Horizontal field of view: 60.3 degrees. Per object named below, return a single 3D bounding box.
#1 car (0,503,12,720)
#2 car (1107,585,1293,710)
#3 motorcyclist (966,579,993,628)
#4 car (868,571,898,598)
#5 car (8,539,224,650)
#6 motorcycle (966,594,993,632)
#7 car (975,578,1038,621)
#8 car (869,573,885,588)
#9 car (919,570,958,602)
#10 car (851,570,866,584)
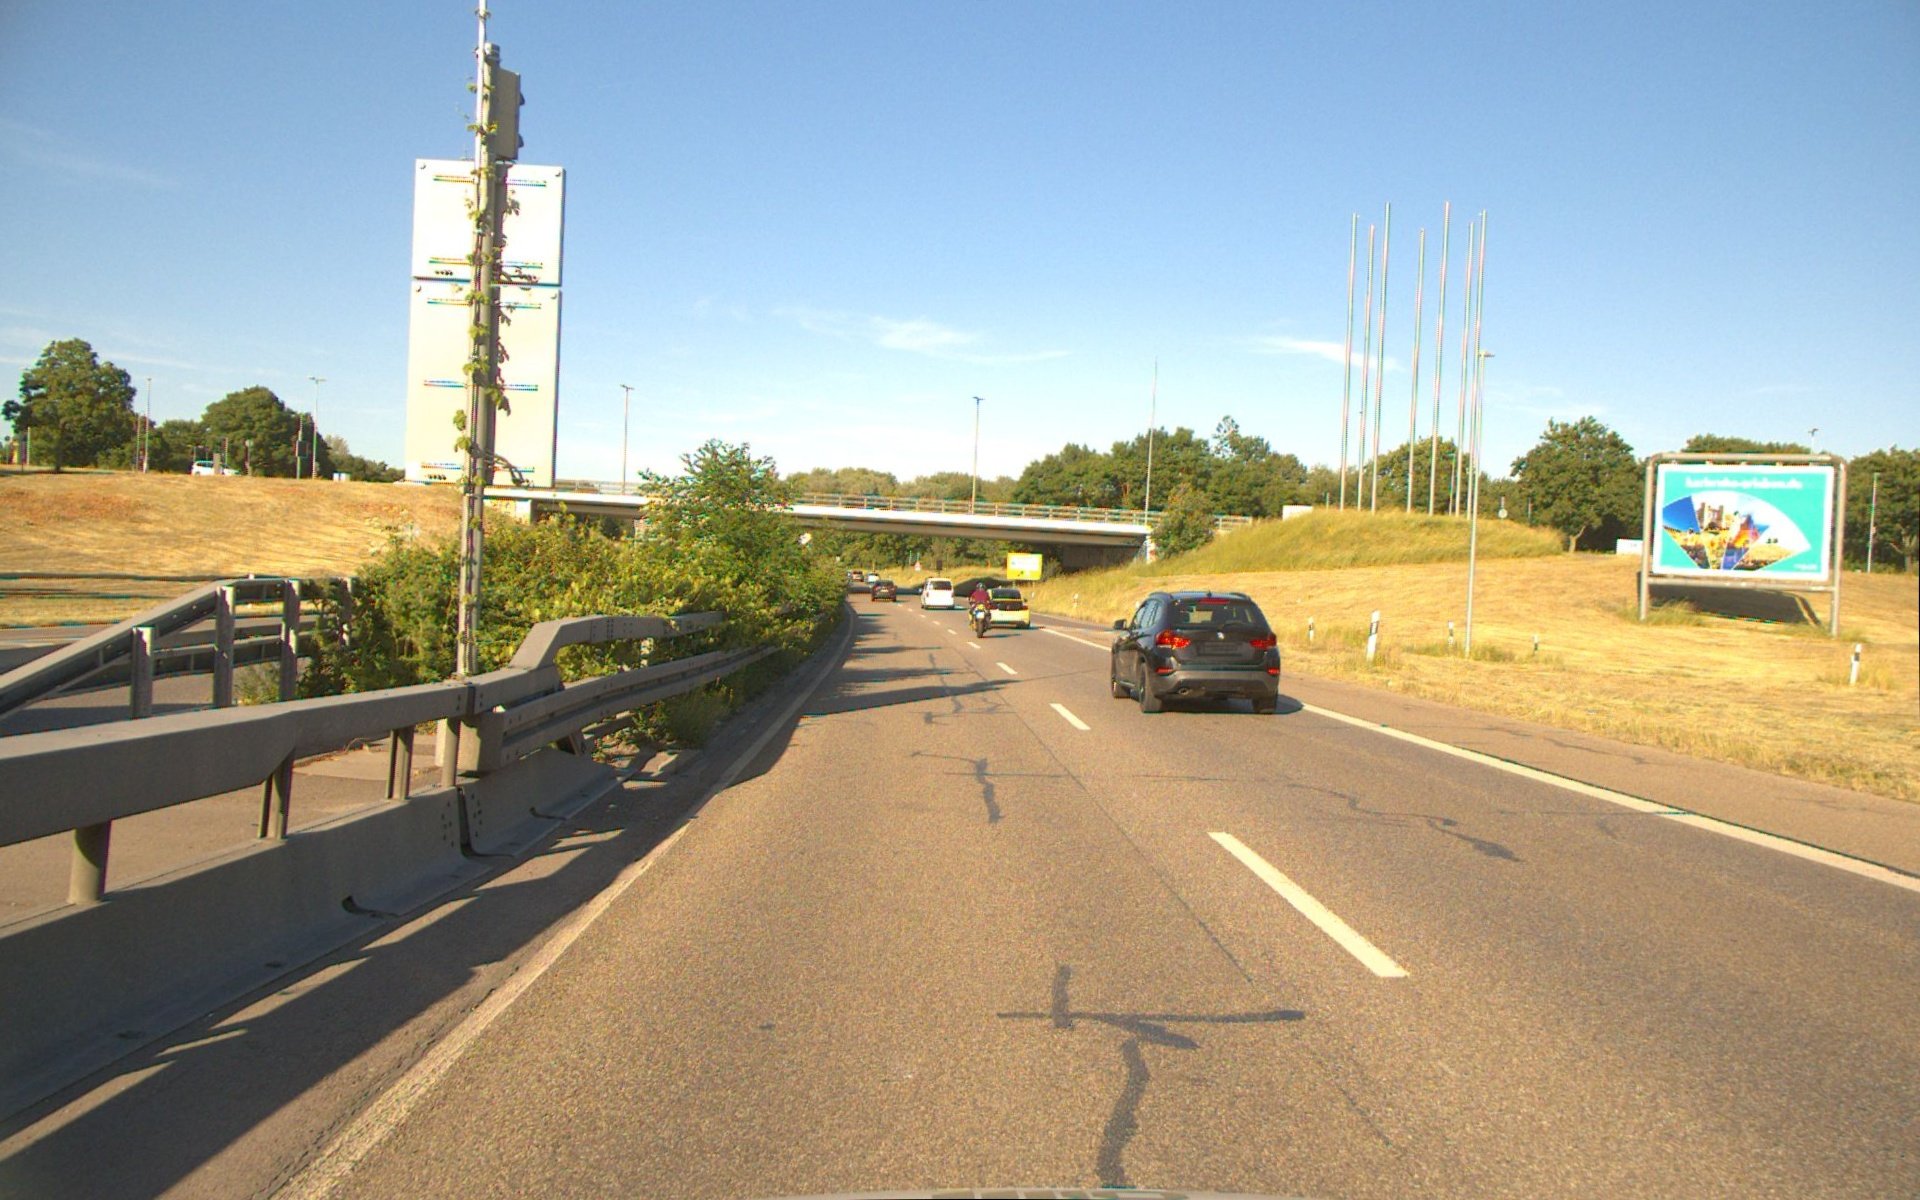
[{"bbox_3d":[-7.842,0.095,10.232,1.682,1.602,4.161,1,1,-3],"label":"car"},{"bbox_3d":[3.163,0.574,22.668,1.665,1.532,4.576,0,0,-3],"label":"car"},{"bbox_3d":[0.606,0.094,50.969,0.800,1.472,1.094,1,1,0],"label":"motorcyclist"},{"bbox_3d":[-5.426,-1.086,116.180,1.860,1.797,3.996,1,1,-6],"label":"car"},{"bbox_3d":[-12.411,-0.095,24.545,1.577,1.511,3.390,1,1,-3],"label":"car"},{"bbox_3d":[0.593,0.380,50.941,0.800,1.088,2.836,1,1,0],"label":"motorcycle"},{"bbox_3d":[1.697,-0.047,62.071,1.860,1.496,3.995,1,1,-6],"label":"car"},{"bbox_3d":[-10.159,-2.417,202.409,1.832,1.714,3.996,3,0,-5],"label":"car"},{"bbox_3d":[-1.282,-0.812,95.262,1.861,1.798,3.995,0,1,-7],"label":"car"},{"bbox_3d":[-13.520,-3.061,220.320,1.832,1.714,3.996,3,0,-5],"label":"car"}]
